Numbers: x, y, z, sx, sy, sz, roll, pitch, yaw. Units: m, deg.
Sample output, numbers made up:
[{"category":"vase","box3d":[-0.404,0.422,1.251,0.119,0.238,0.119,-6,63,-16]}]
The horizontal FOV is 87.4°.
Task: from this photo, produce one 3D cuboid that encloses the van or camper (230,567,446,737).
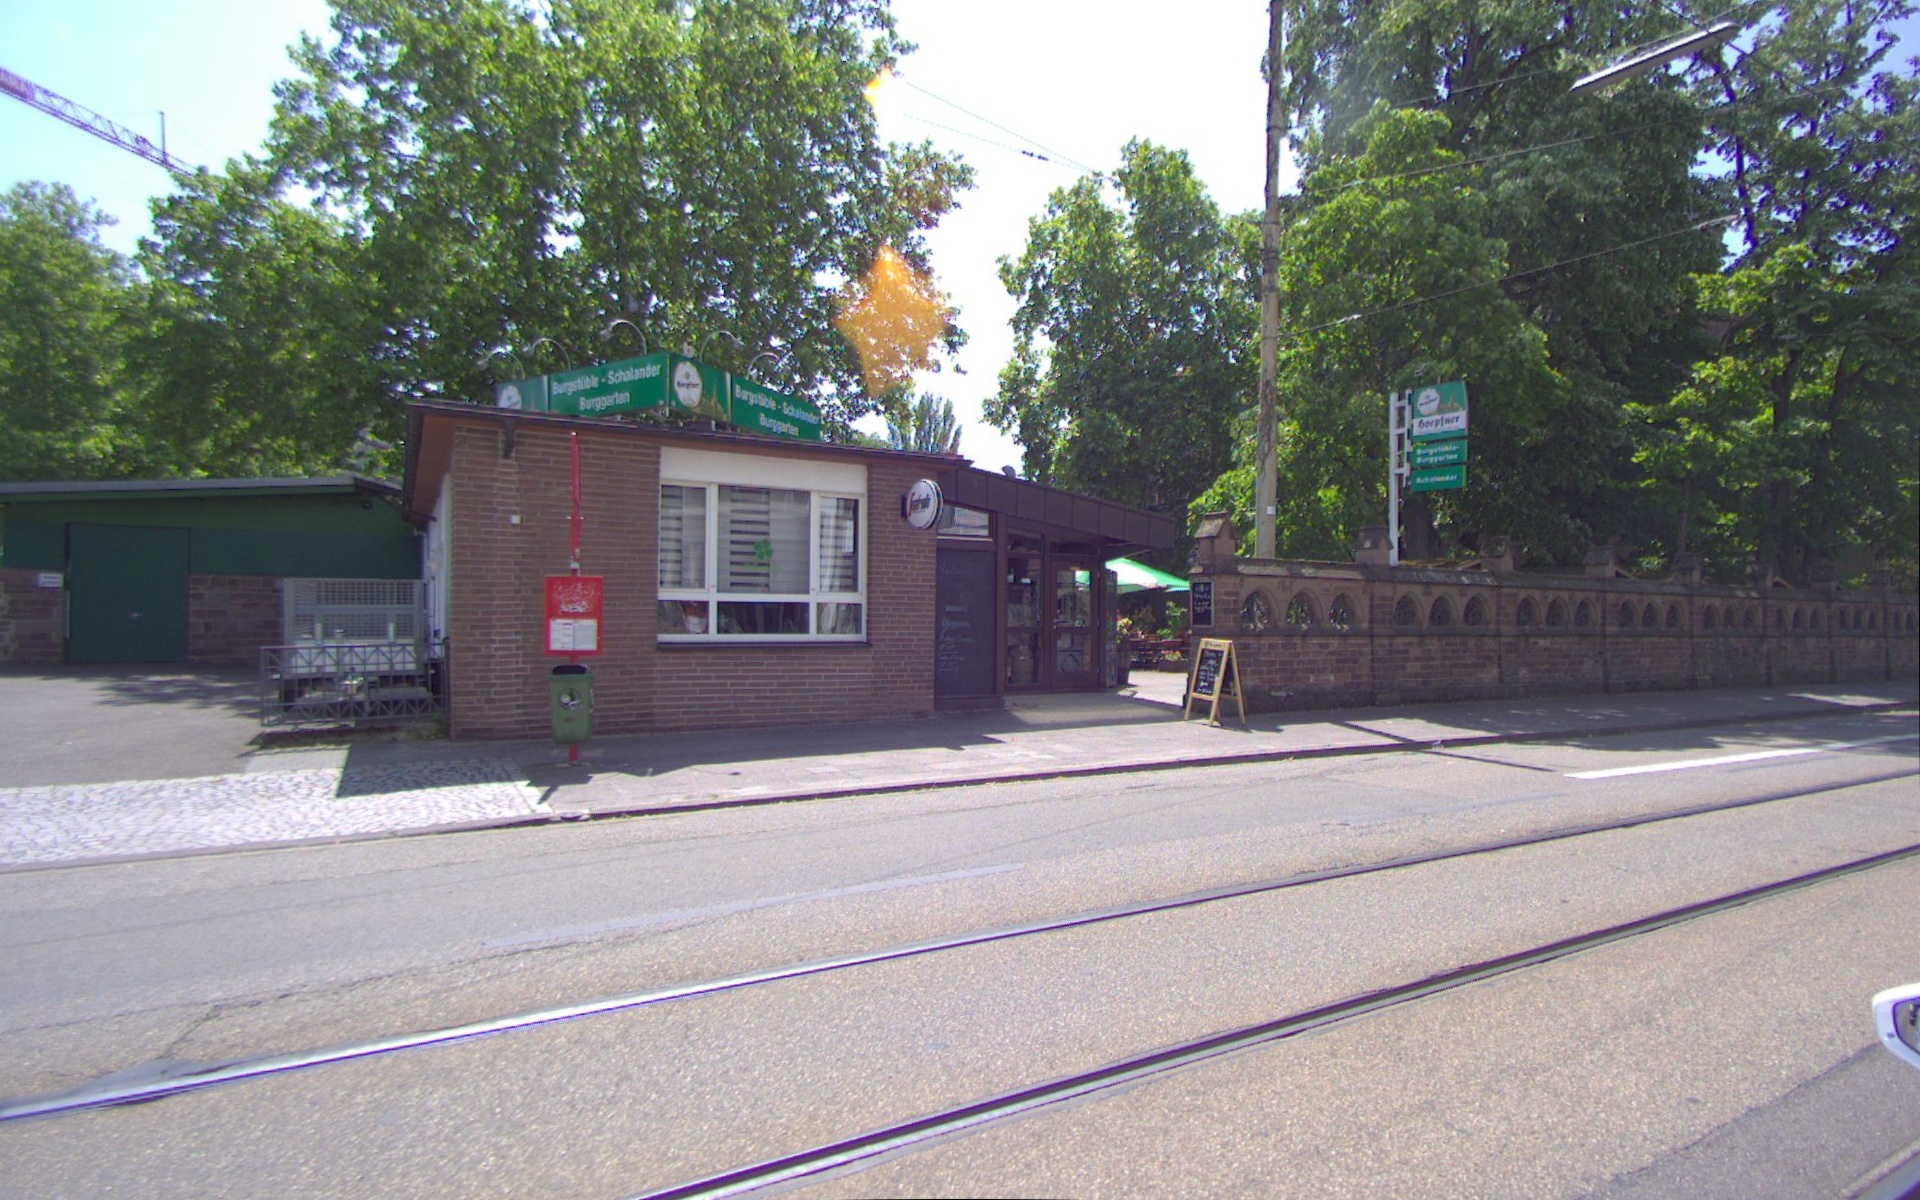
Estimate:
[{"category":"van or camper","box3d":[-7.164,0.473,11.818,1.849,1.651,3.766,0,1,-29]}]
